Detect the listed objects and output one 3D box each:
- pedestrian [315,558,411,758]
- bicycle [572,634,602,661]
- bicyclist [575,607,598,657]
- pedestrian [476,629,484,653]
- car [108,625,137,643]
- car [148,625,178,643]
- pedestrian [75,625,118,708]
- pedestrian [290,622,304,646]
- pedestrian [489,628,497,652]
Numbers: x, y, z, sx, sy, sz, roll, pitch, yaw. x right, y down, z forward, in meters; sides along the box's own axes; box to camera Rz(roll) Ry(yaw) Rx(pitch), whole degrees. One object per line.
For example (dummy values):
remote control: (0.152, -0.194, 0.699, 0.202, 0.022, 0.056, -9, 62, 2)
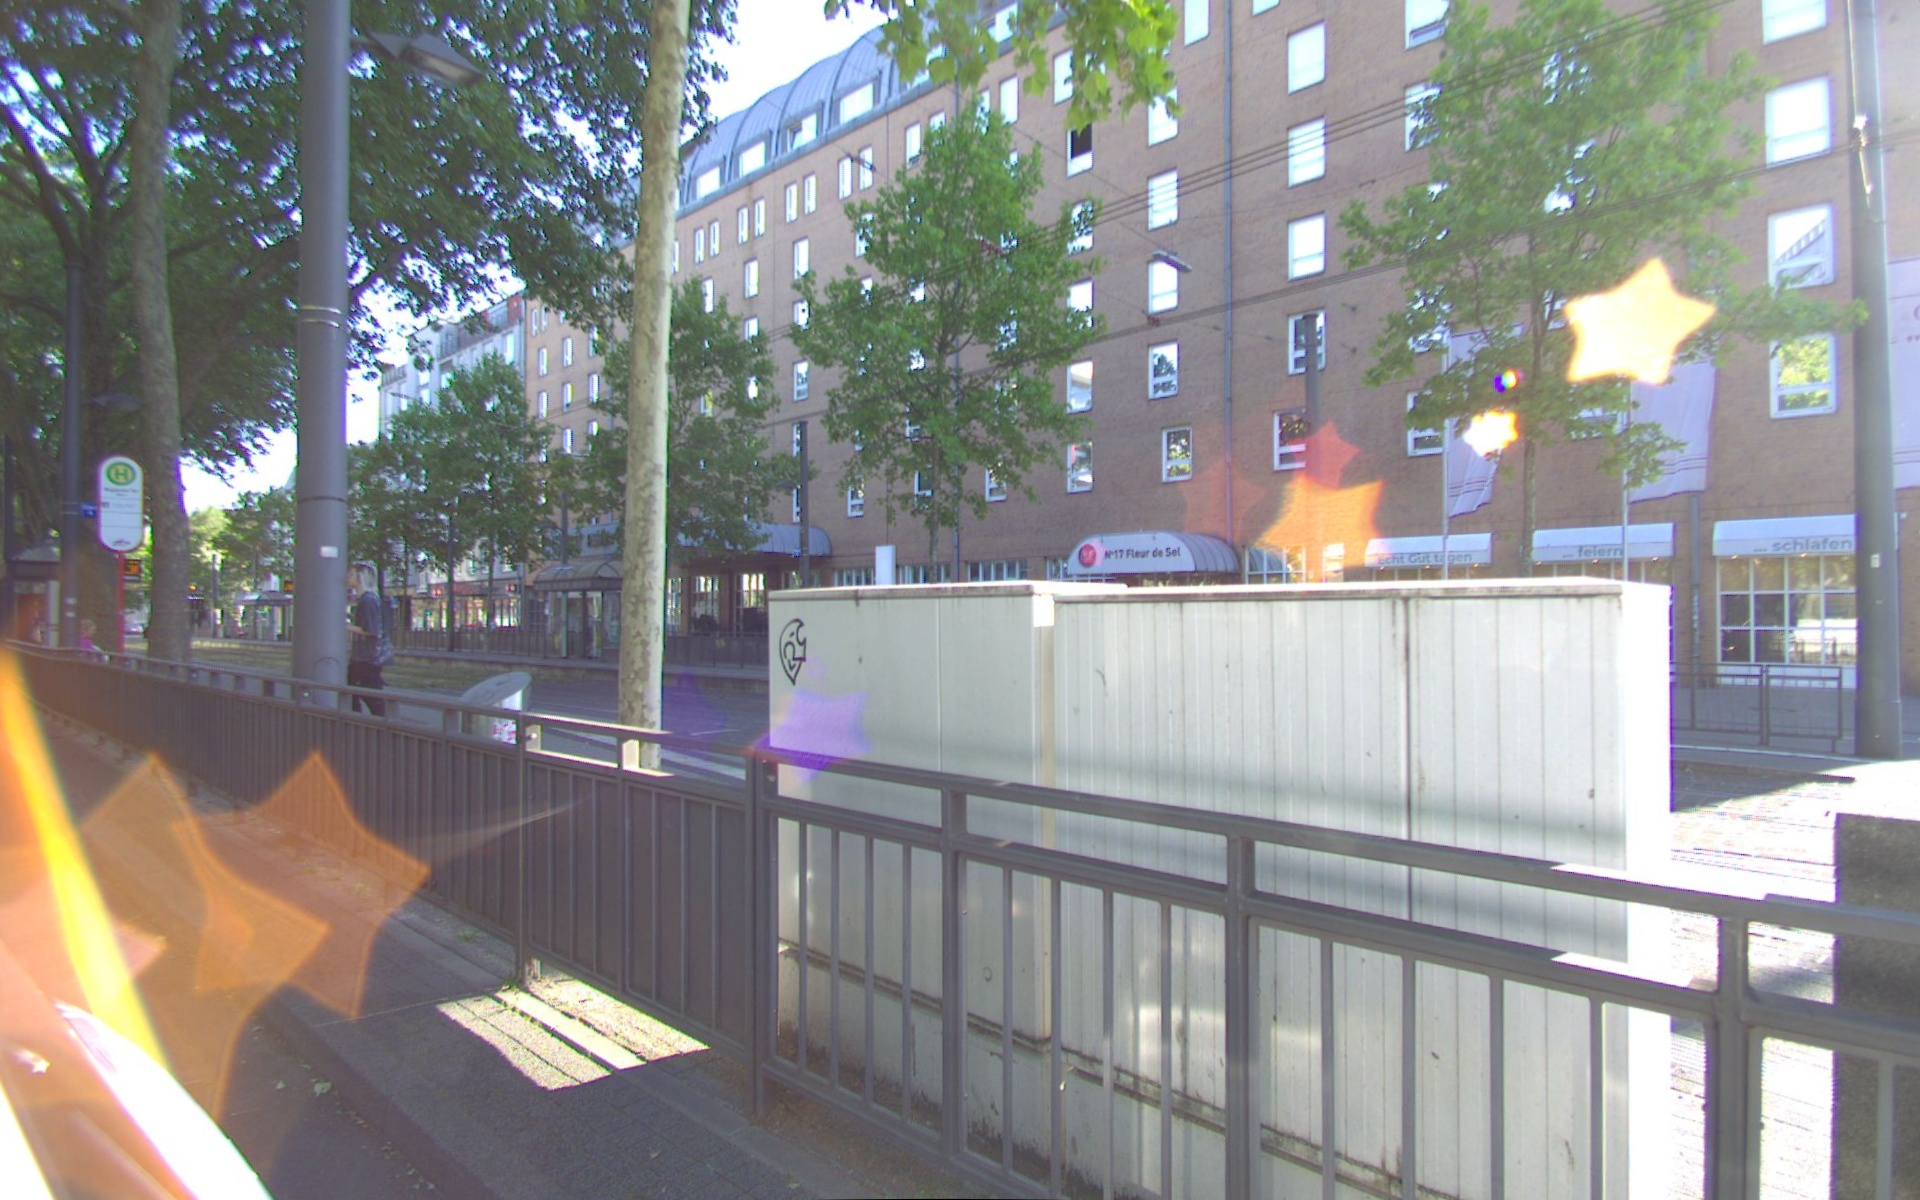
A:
pedestrian: (-5.844, 0.550, 9.932, 0.613, 1.897, 0.608, 1, 0, -9)
bicycle: (-14.665, 1.853, 39.750, 0.444, 1.012, 1.754, 2, -2, -44)
bicyclist: (-14.634, 1.252, 39.617, 0.564, 1.918, 0.814, 2, -2, -43)
pedestrian: (-30.829, 2.614, 64.939, 0.431, 1.518, 0.660, 1, -2, -27)
car: (-96.786, 3.914, 116.913, 3.998, 2.029, 1.973, -1, -2, 41)
car: (-91.635, 3.904, 116.340, 3.998, 2.029, 1.973, -1, -2, 41)
pedestrian: (-13.950, 1.063, 16.349, 0.493, 1.325, 0.419, 1, -2, -41)
pedestrian: (-58.841, 3.014, 89.830, 0.763, 2.029, 0.796, -2, -2, 41)
pedestrian: (-30.168, 2.592, 65.316, 0.431, 1.532, 0.660, 1, -2, -27)
